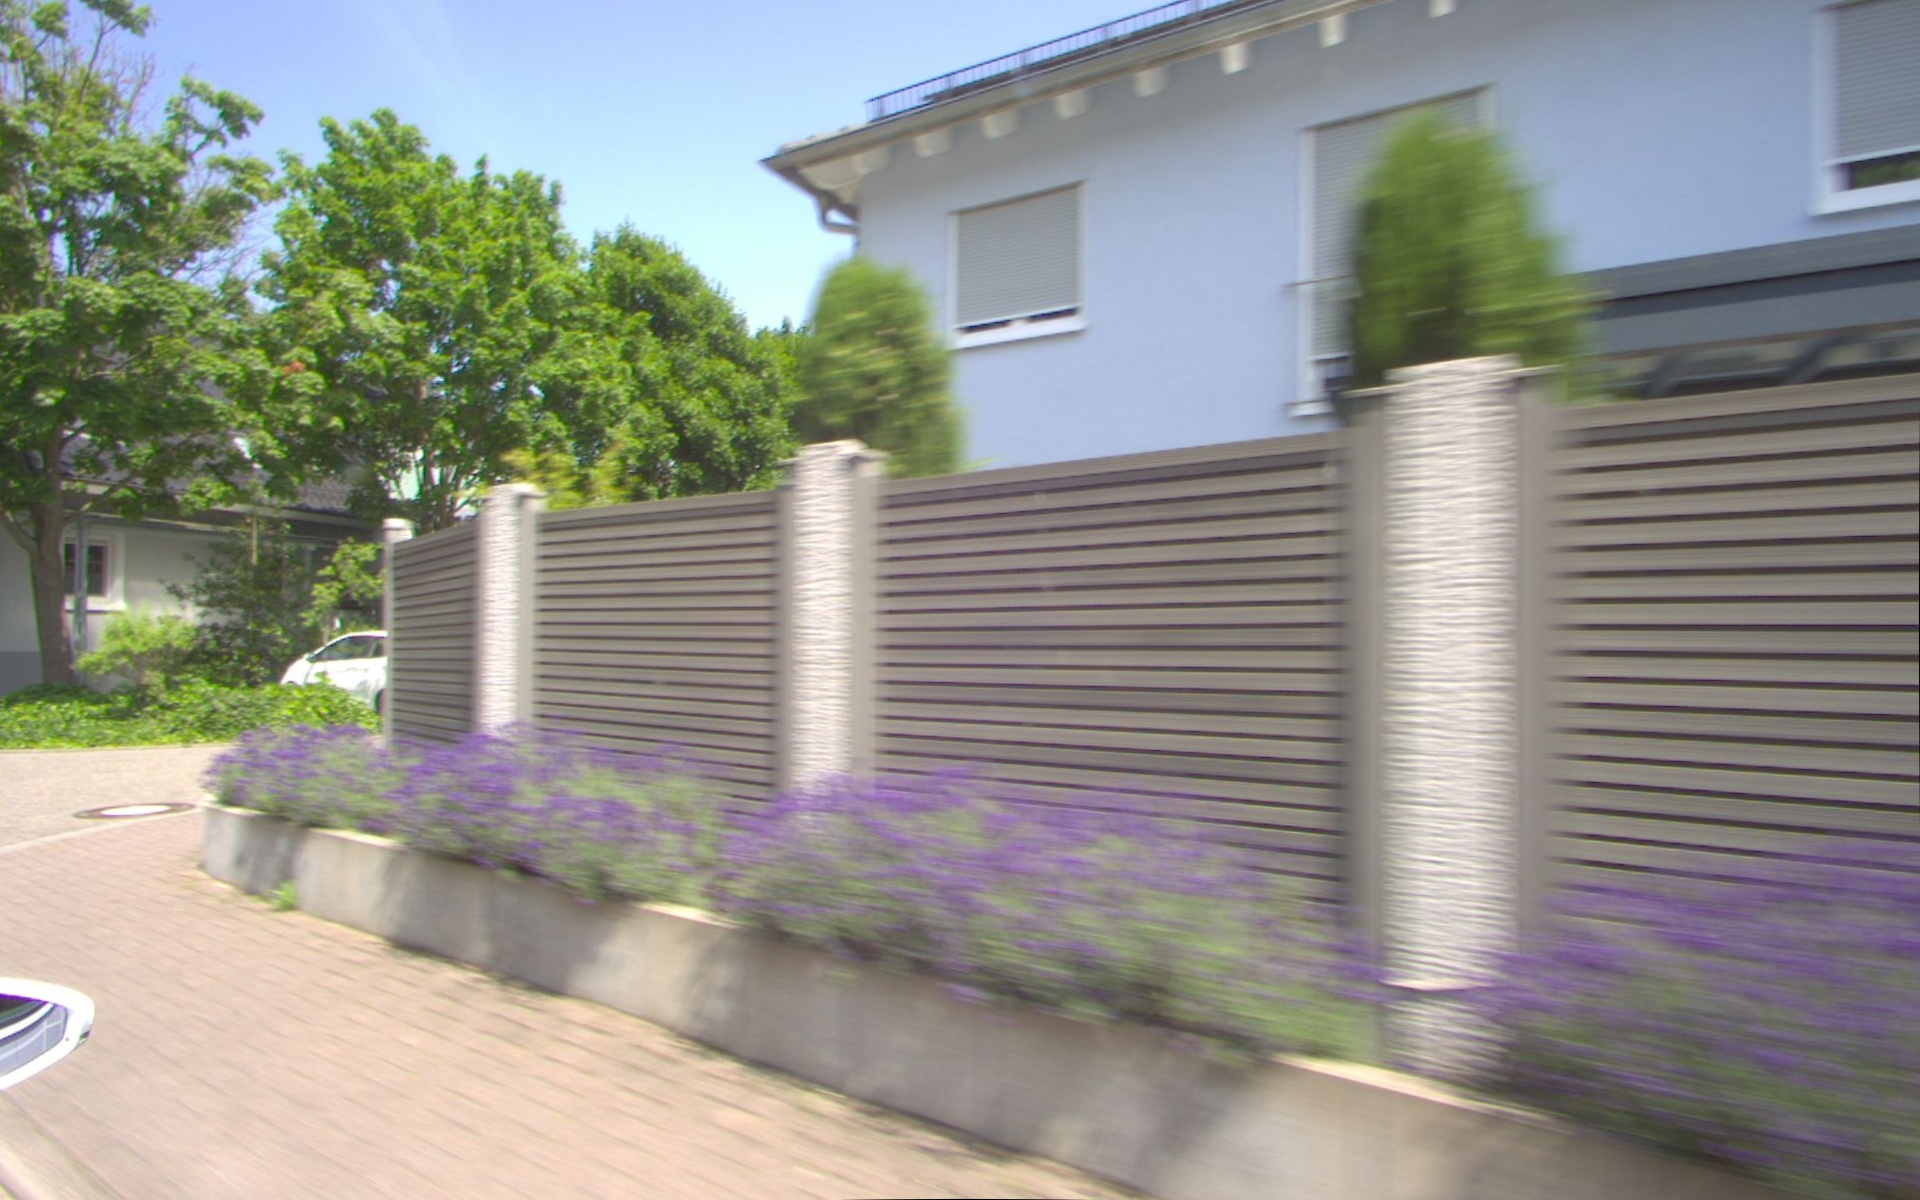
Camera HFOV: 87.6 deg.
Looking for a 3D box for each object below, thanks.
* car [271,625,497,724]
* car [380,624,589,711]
[{"bbox_3d":[-9.980,1.235,17.358,3.507,1.463,1.593,1,-1,24],"label":"car"},{"bbox_3d":[-9.460,1.295,19.936,3.798,1.492,1.593,1,-1,22],"label":"car"}]
